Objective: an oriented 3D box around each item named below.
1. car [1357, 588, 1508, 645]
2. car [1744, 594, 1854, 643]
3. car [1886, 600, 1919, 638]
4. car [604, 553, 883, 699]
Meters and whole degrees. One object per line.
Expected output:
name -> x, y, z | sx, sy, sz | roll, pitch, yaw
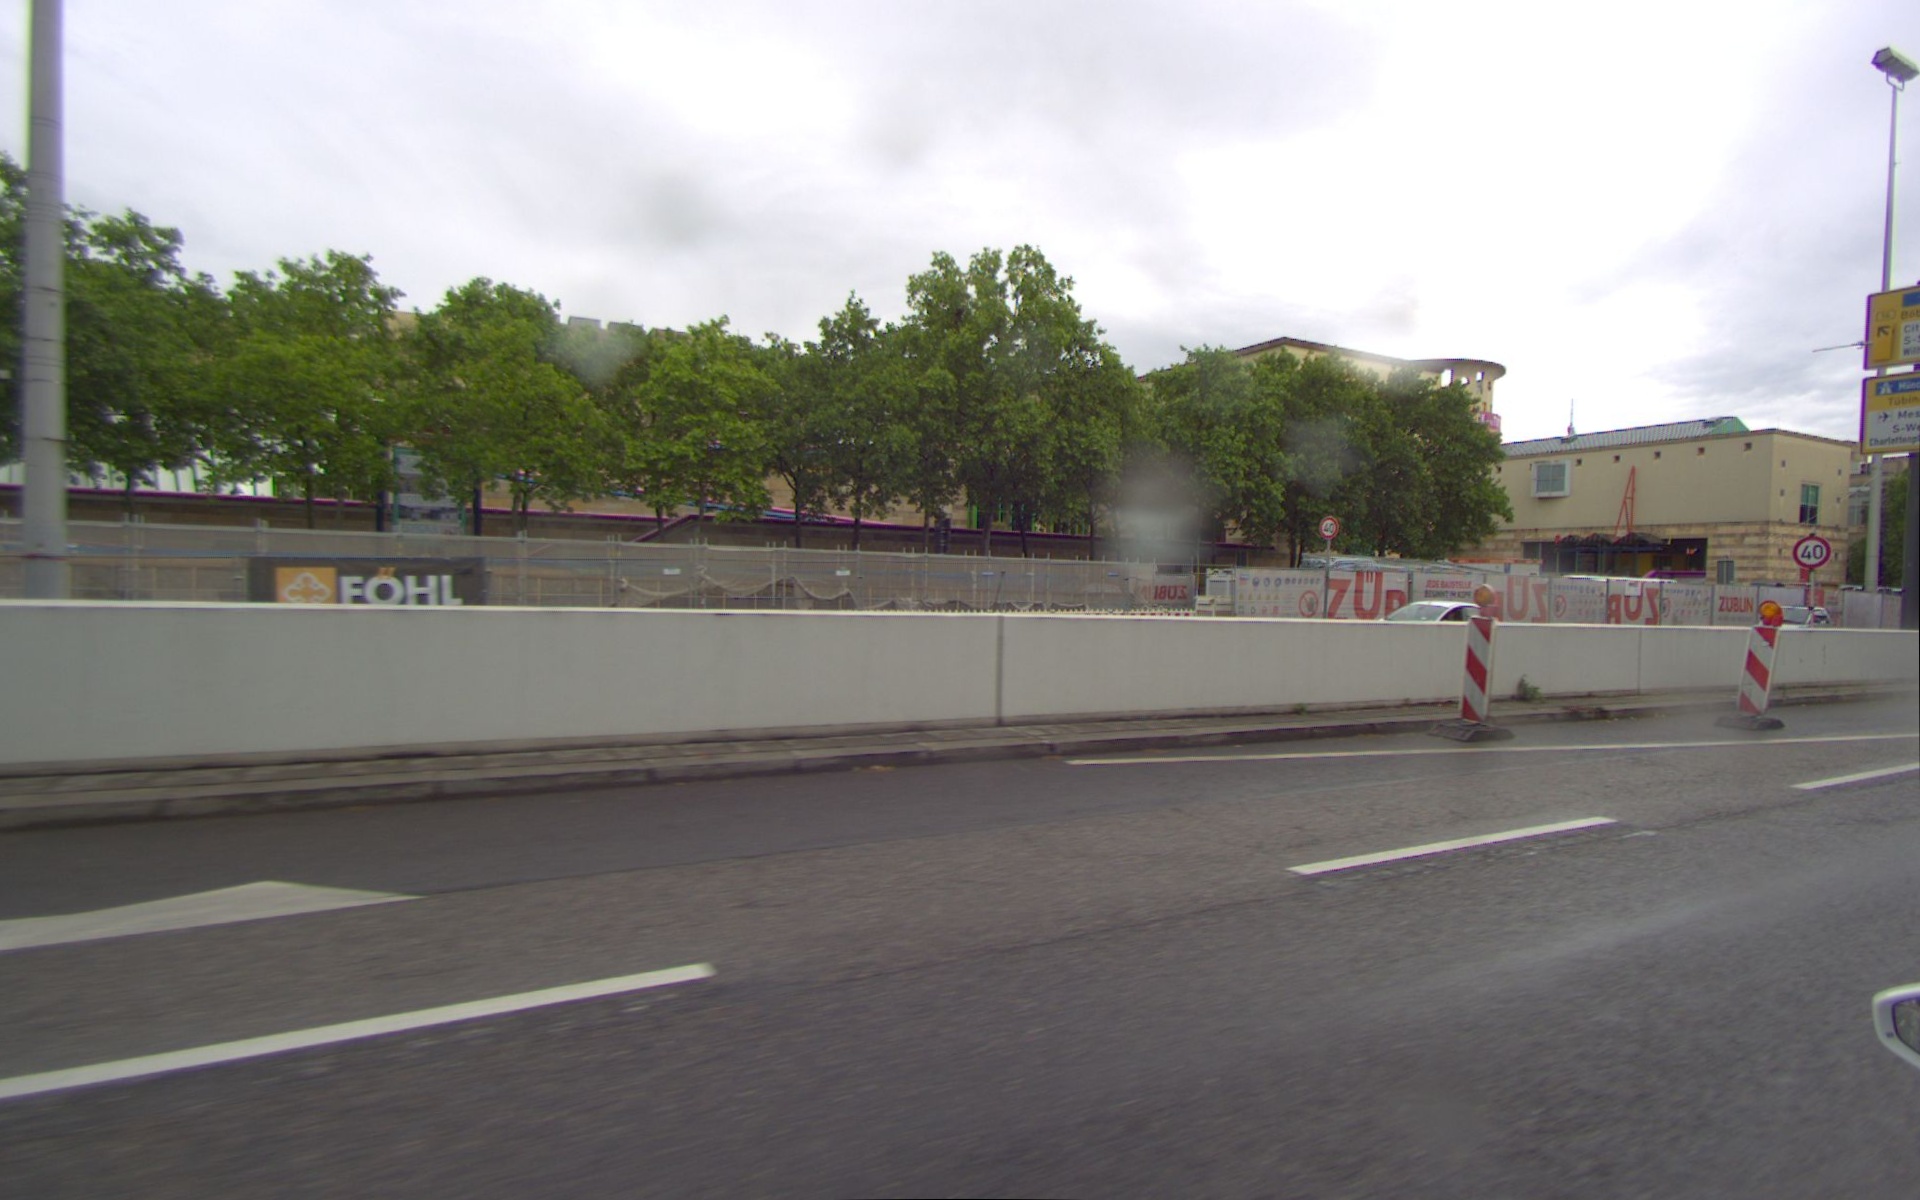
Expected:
car -> 11.422, 0.407, 24.271 | 3.365, 1.212, 1.618 | 1, 3, -30
car -> 29.422, 0.662, 35.200 | 3.954, 1.542, 1.659 | 1, 3, -31
car -> 42.413, 0.931, 43.723 | 3.955, 1.499, 1.983 | 3, 2, -31
car -> -3.490, 0.379, 16.229 | 3.953, 2.041, 1.984 | 1, 3, -30
